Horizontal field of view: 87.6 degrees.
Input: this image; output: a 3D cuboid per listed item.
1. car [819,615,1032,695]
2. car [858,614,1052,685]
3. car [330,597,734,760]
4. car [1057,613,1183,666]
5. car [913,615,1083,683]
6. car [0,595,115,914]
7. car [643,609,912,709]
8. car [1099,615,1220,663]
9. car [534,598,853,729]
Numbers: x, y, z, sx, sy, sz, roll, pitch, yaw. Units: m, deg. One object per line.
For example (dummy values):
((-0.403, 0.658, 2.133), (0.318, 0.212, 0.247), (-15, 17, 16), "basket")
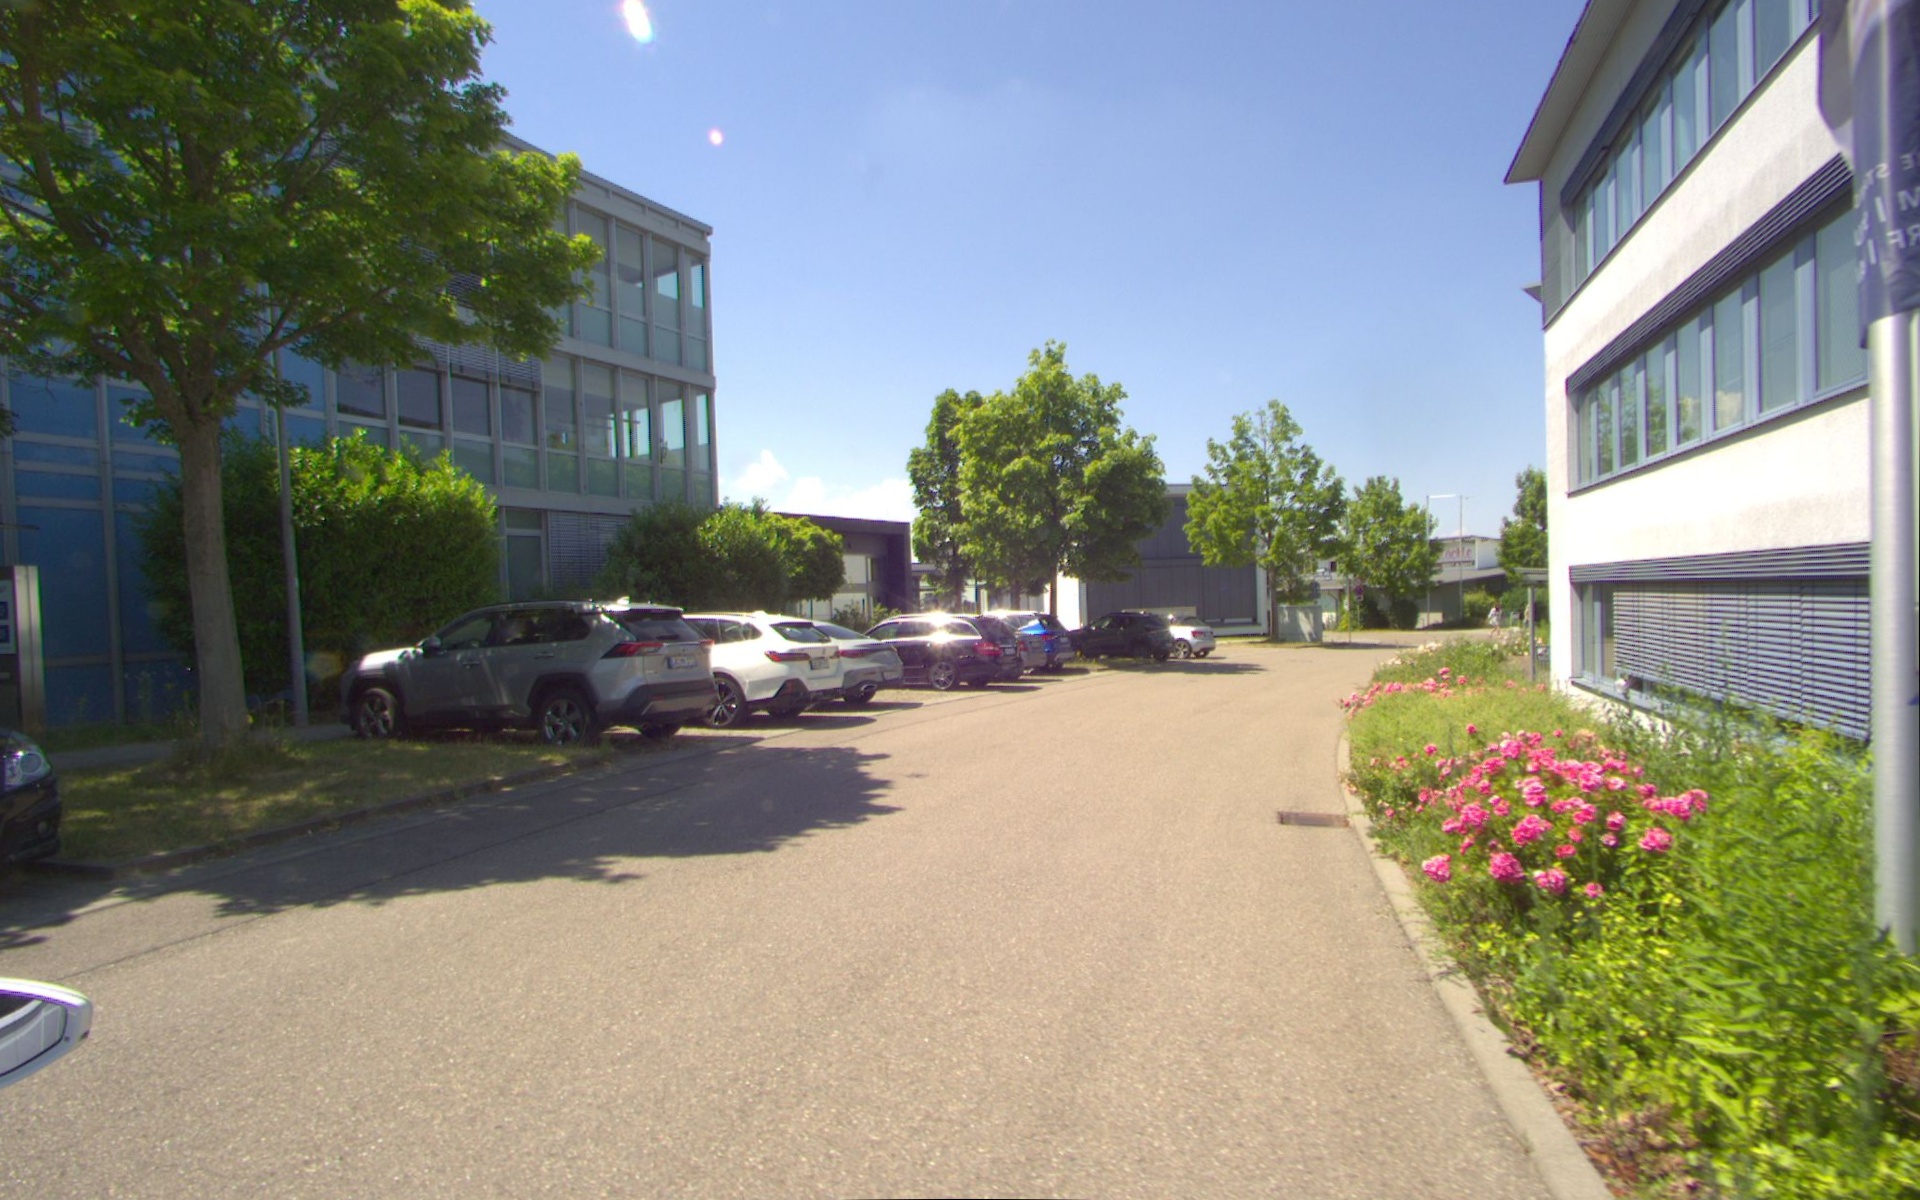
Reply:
((-0.725, 1.064, 20.565), (4.111, 1.506, 1.655), (0, 0, 26), "car")
((-0.106, 1.082, 22.808), (4.104, 1.506, 1.657), (0, 0, 20), "car")
((-5.022, 0.821, 11.832), (4.255, 1.664, 1.854), (0, 0, 19), "car")
((4.933, 1.192, 31.057), (3.543, 1.546, 1.625), (0, 0, 37), "car")
((0.937, 1.199, 25.705), (4.118, 1.626, 1.652), (0, 0, 33), "car")
((-6.990, 0.809, 5.234), (4.483, 1.569, 1.761), (-1, -1, 17), "car")
((-2.993, 0.912, 16.545), (4.104, 1.506, 1.658), (0, 0, 19), "car")
((6.513, 1.232, 32.820), (3.543, 1.462, 1.625), (0, 0, 37), "car")
((-3.733, 0.819, 14.110), (4.128, 1.664, 1.658), (0, 0, 19), "car")
